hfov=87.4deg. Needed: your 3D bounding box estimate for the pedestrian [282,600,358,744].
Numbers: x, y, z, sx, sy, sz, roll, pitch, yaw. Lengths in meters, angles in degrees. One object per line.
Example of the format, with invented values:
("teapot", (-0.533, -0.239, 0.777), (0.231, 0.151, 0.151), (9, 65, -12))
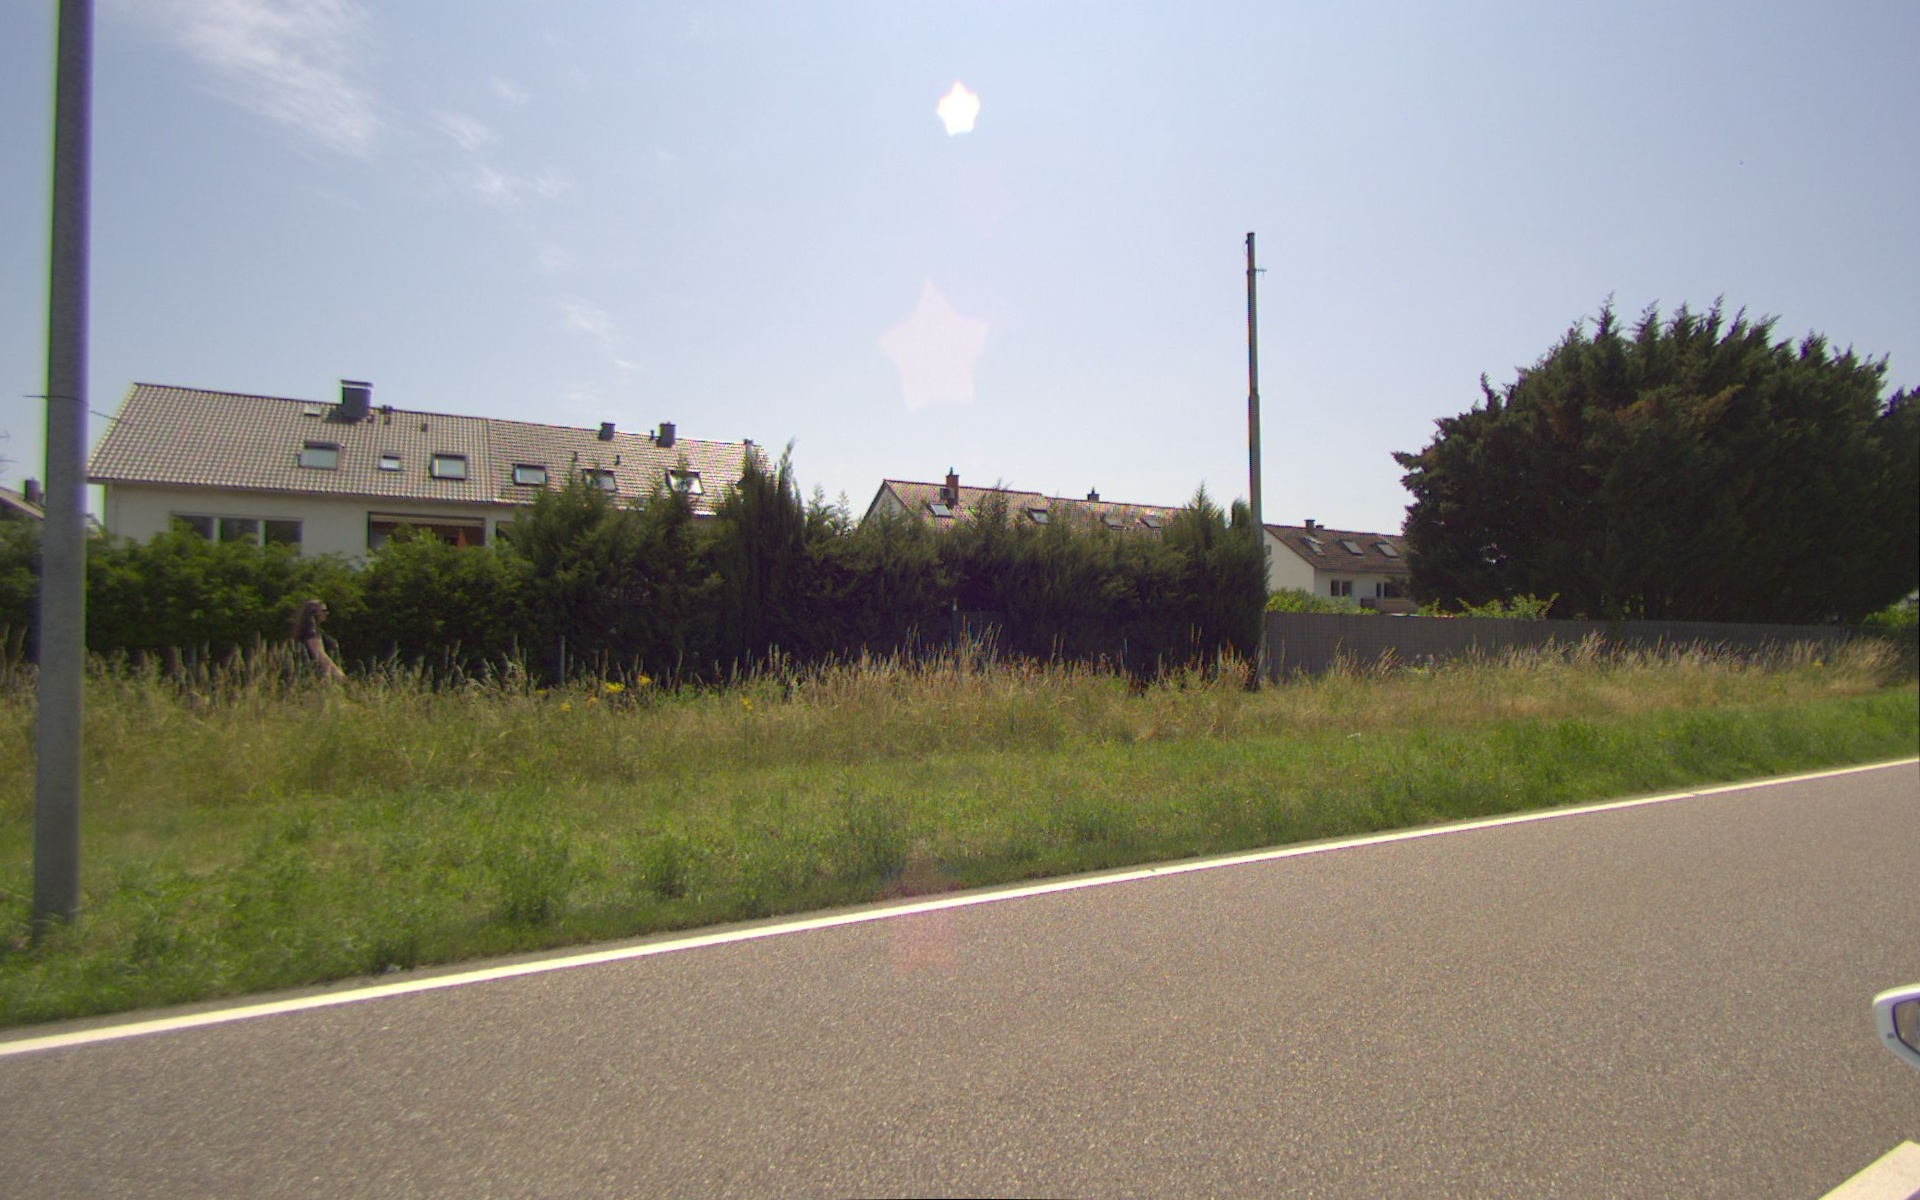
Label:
("pedestrian", (-6.873, 0.753, 10.810), (0.626, 1.497, 0.606), (1, -1, -30))
